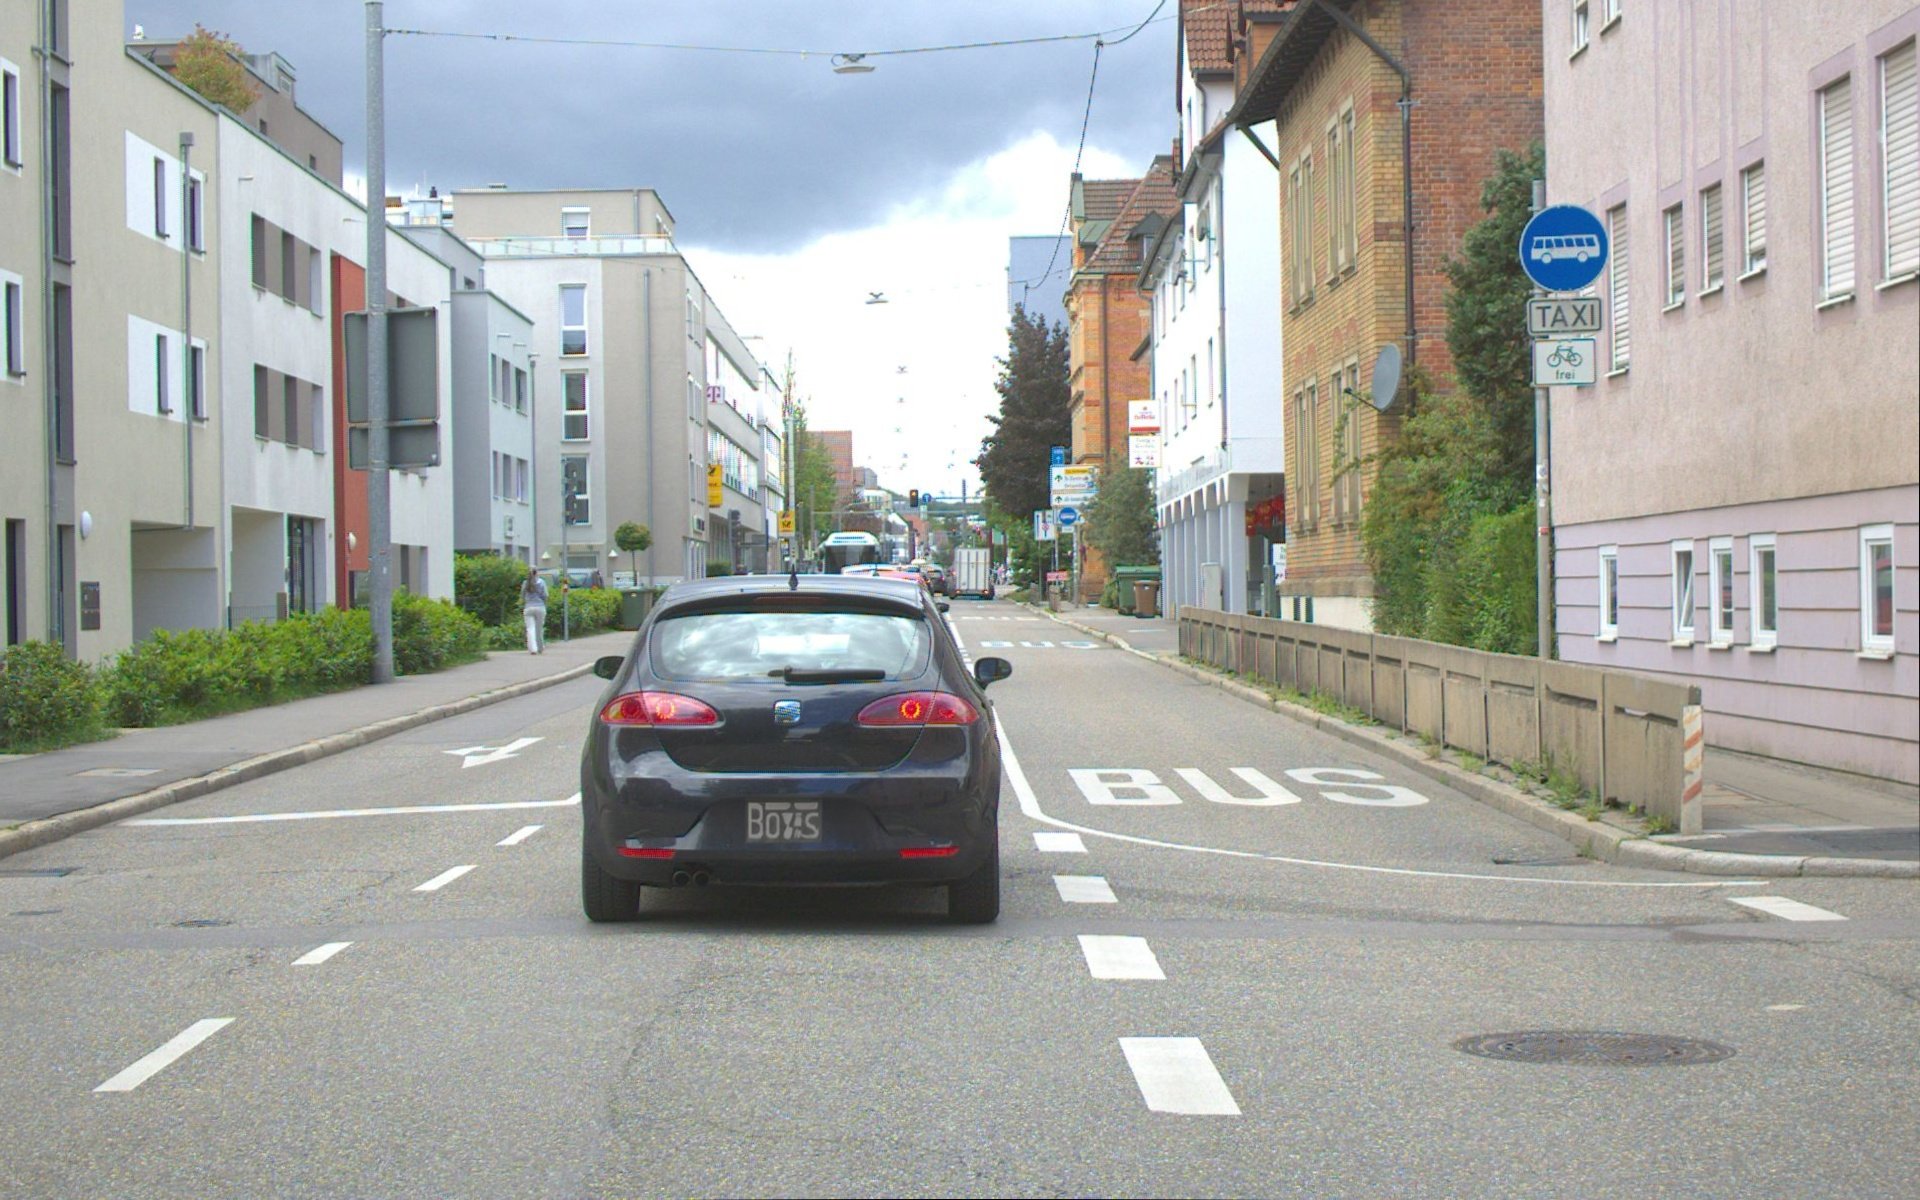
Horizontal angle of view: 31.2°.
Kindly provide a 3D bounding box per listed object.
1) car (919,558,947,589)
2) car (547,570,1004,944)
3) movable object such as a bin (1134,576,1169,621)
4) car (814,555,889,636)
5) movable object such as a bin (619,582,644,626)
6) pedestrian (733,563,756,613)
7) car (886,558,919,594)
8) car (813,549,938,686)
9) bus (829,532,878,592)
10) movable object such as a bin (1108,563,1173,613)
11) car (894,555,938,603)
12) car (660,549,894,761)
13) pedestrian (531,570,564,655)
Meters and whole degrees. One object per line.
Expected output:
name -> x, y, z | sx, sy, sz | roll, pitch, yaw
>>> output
car -> -1.503, -1.485, 190.457 | 1.531, 1.687, 3.693 | -1, 1, -1
car -> -0.733, 0.605, 15.331 | 1.759, 1.437, 4.000 | 0, 0, 0
movable object such as a bin -> 5.410, -0.047, 97.263 | 0.928, 1.279, 0.883 | 0, 0, 1
car -> -2.315, -0.093, 73.854 | 1.531, 1.687, 3.693 | 0, 0, -1
movable object such as a bin -> -8.068, 0.104, 84.402 | 0.549, 1.075, 0.612 | 0, 0, 1
pedestrian -> -7.447, -0.408, 118.959 | 0.730, 1.723, 0.859 | 0, 0, -1
car -> -2.736, -1.166, 163.546 | 1.531, 1.687, 3.693 | 0, 1, -1
car -> -1.075, 0.212, 44.315 | 1.531, 1.687, 3.693 | 0, 0, -1
bus -> -5.255, -1.842, 170.418 | 2.210, 2.876, 8.919 | 0, 0, 0
movable object such as a bin -> 5.330, -0.351, 101.690 | 1.818, 1.432, 1.993 | 0, 0, 1
car -> -1.566, -0.750, 122.459 | 1.531, 1.687, 3.693 | 0, 0, -1
car -> -1.504, 0.436, 29.551 | 1.842, 1.687, 4.000 | 0, 0, -1
pedestrian -> -7.521, 0.223, 62.691 | 0.526, 1.542, 0.541 | 0, 0, 0
